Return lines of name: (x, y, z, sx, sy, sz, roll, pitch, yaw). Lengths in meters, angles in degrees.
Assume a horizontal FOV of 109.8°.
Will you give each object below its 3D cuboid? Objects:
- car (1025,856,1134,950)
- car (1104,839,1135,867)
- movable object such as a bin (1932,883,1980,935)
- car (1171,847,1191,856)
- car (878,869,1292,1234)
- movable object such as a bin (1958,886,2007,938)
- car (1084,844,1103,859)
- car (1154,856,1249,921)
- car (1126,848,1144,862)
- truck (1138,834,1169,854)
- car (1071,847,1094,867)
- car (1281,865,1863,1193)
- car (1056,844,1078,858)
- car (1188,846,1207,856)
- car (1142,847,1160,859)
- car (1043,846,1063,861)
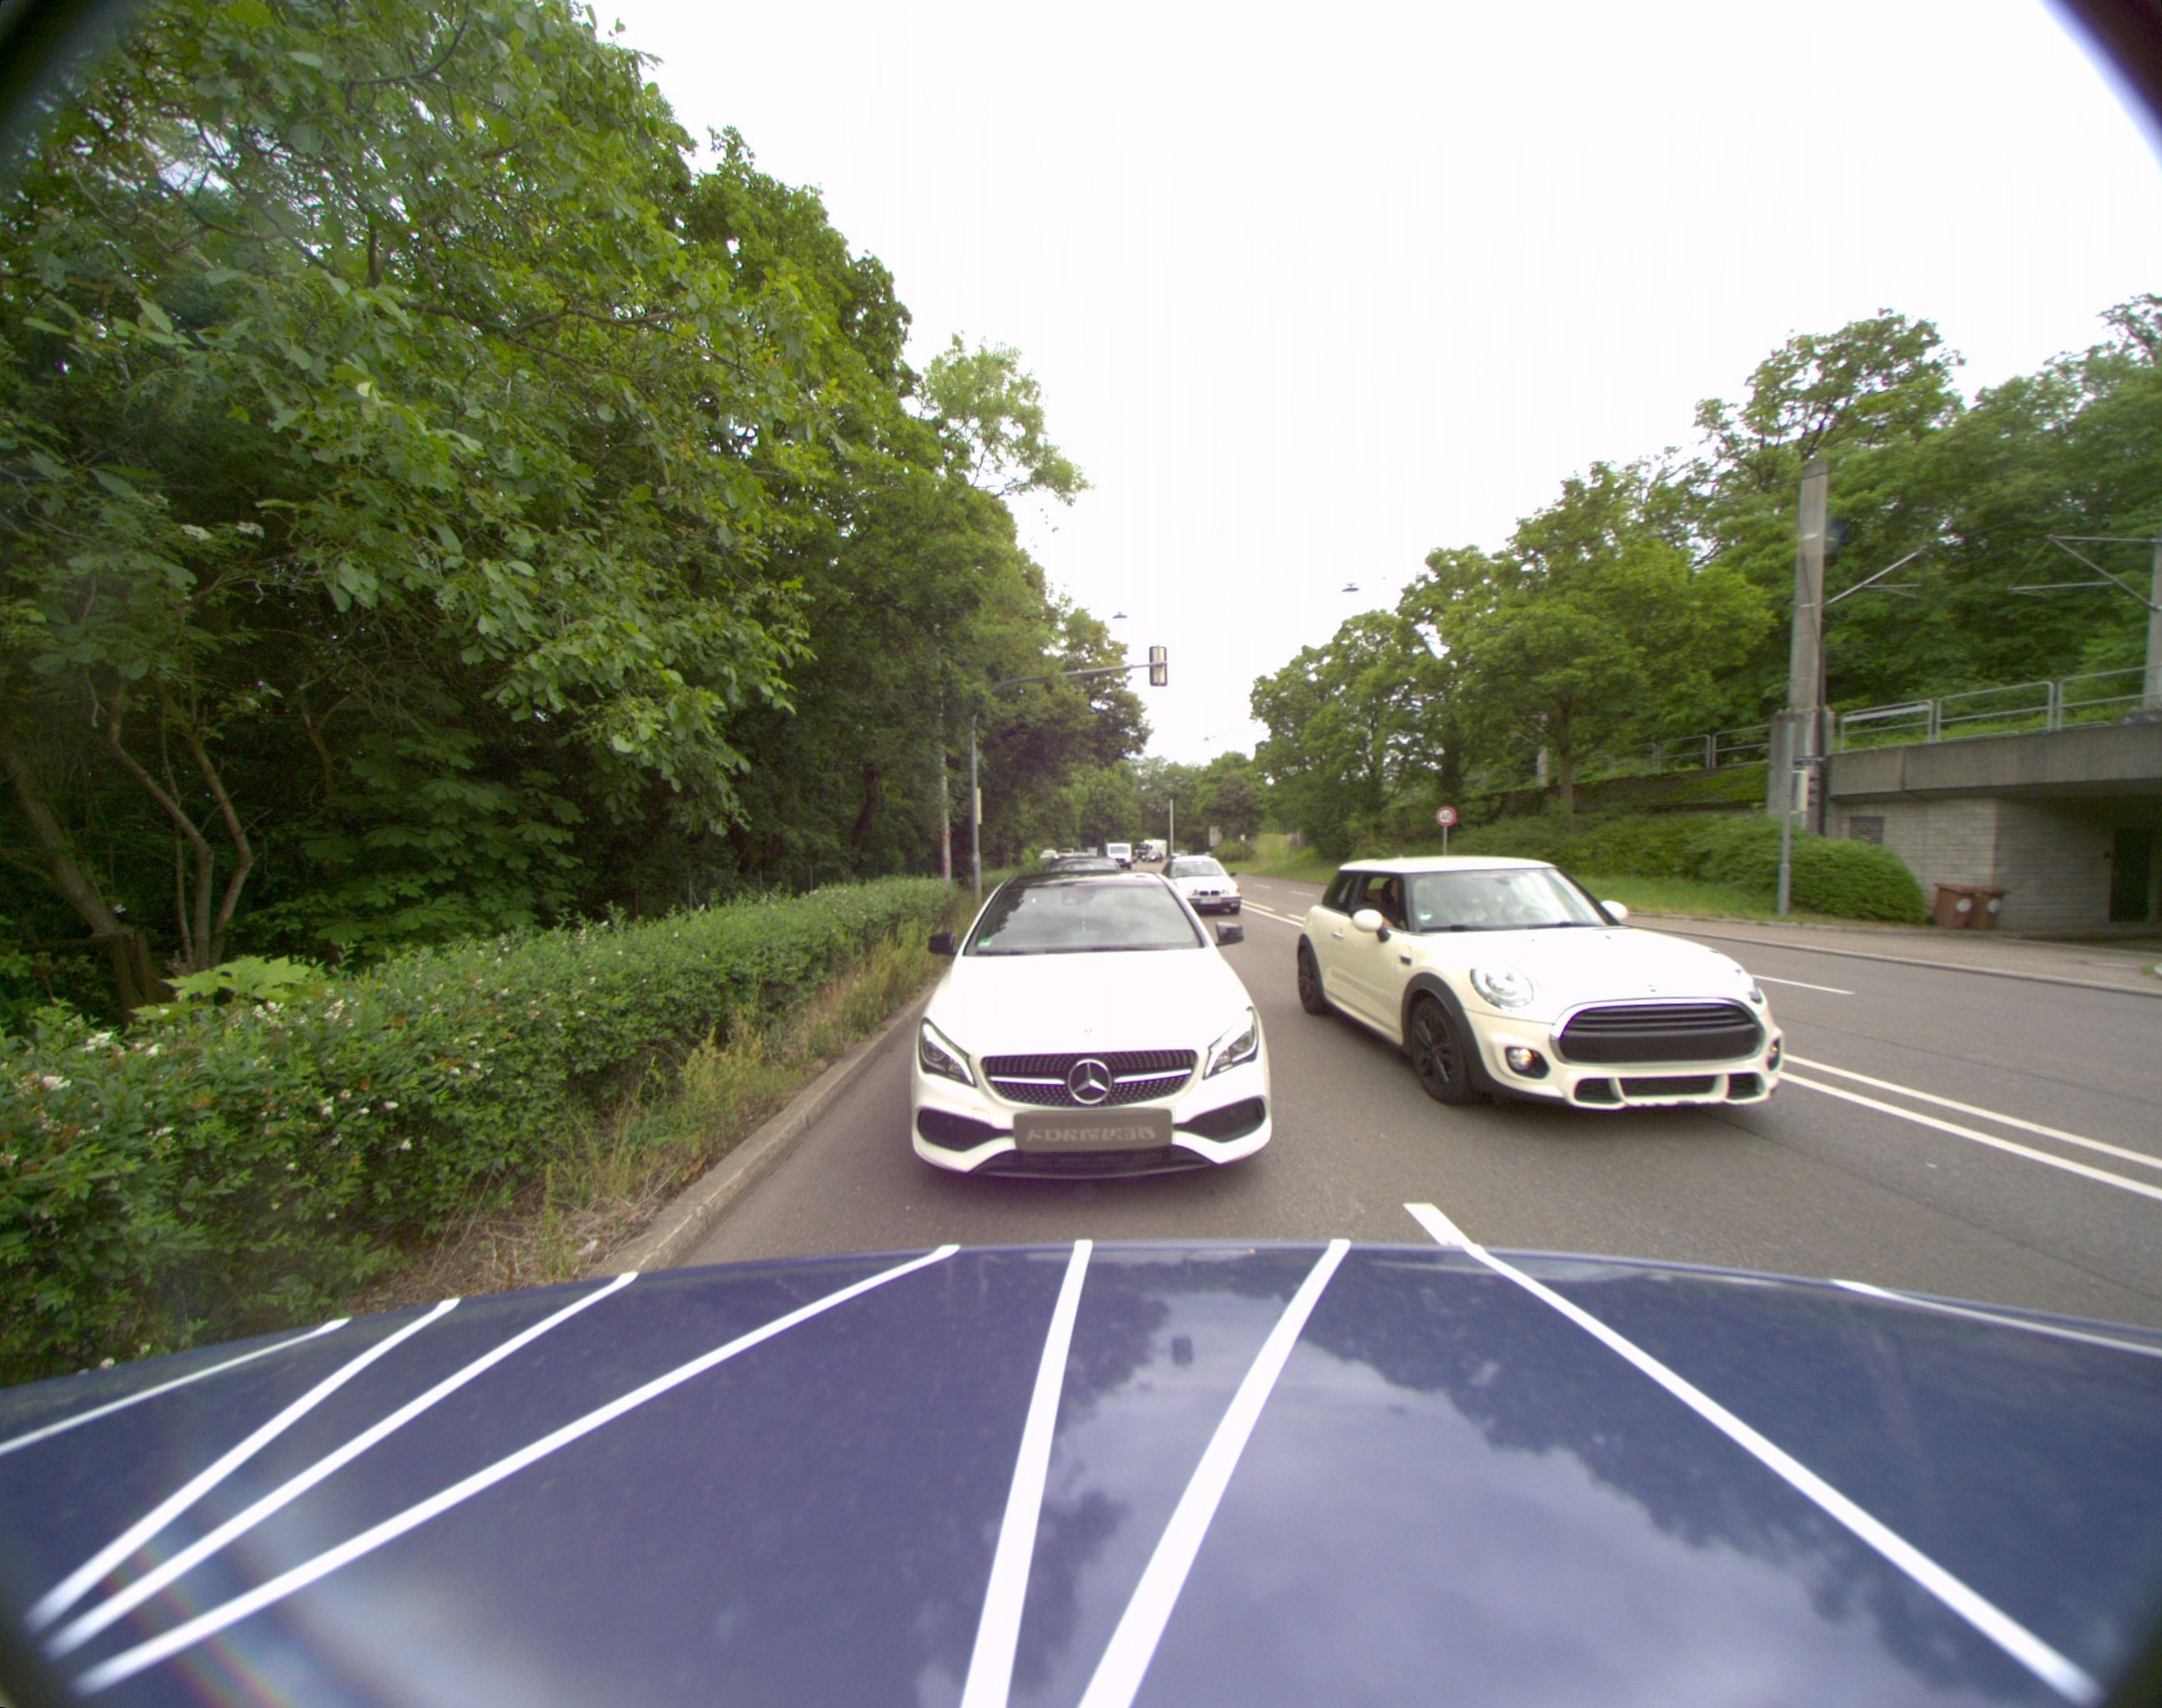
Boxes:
car: (-0.034, 0.826, 14.683, 1.755, 1.417, 4.009, 3, 1, 0)
car: (3.188, -0.081, 64.511, 2.285, 2.187, 6.458, -1, 0, 0)
movable object such as a bin: (18.362, 1.152, 15.953, 0.419, 1.057, 0.503, 0, 1, -4)
car: (17.236, -0.463, 130.542, 1.751, 1.354, 4.019, 4, 1, 33)
car: (0.046, 0.932, 5.417, 1.801, 1.470, 4.010, -2, 0, 1)
movable object such as a bin: (19.039, 1.223, 16.045, 0.419, 1.057, 0.503, 0, 1, -4)
car: (1.446, -0.269, 87.189, 1.754, 1.575, 4.012, 1, 0, 6)
car: (2.949, 0.793, 19.403, 1.664, 1.382, 4.182, -1, 0, -1)
car: (6.849, 0.083, 95.865, 1.852, 1.641, 4.361, 1, 0, 10)
truck: (11.745, -1.534, 122.550, 2.195, 3.137, 6.665, 2, 1, 33)
car: (0.141, 0.220, 60.594, 1.765, 1.433, 3.891, 1, 0, 0)
car: (2.797, 0.842, 5.416, 1.688, 1.415, 3.732, -1, 0, -1)
car: (-1.629, -0.342, 89.967, 1.754, 1.575, 4.013, 1, 0, 10)
car: (20.098, -0.494, 130.961, 1.850, 1.641, 4.366, 1, 1, 31)
car: (9.731, -0.111, 104.779, 1.852, 1.641, 4.362, 1, 0, 13)
car: (-2.702, -0.038, 74.881, 1.765, 1.433, 3.891, 1, 0, 0)
